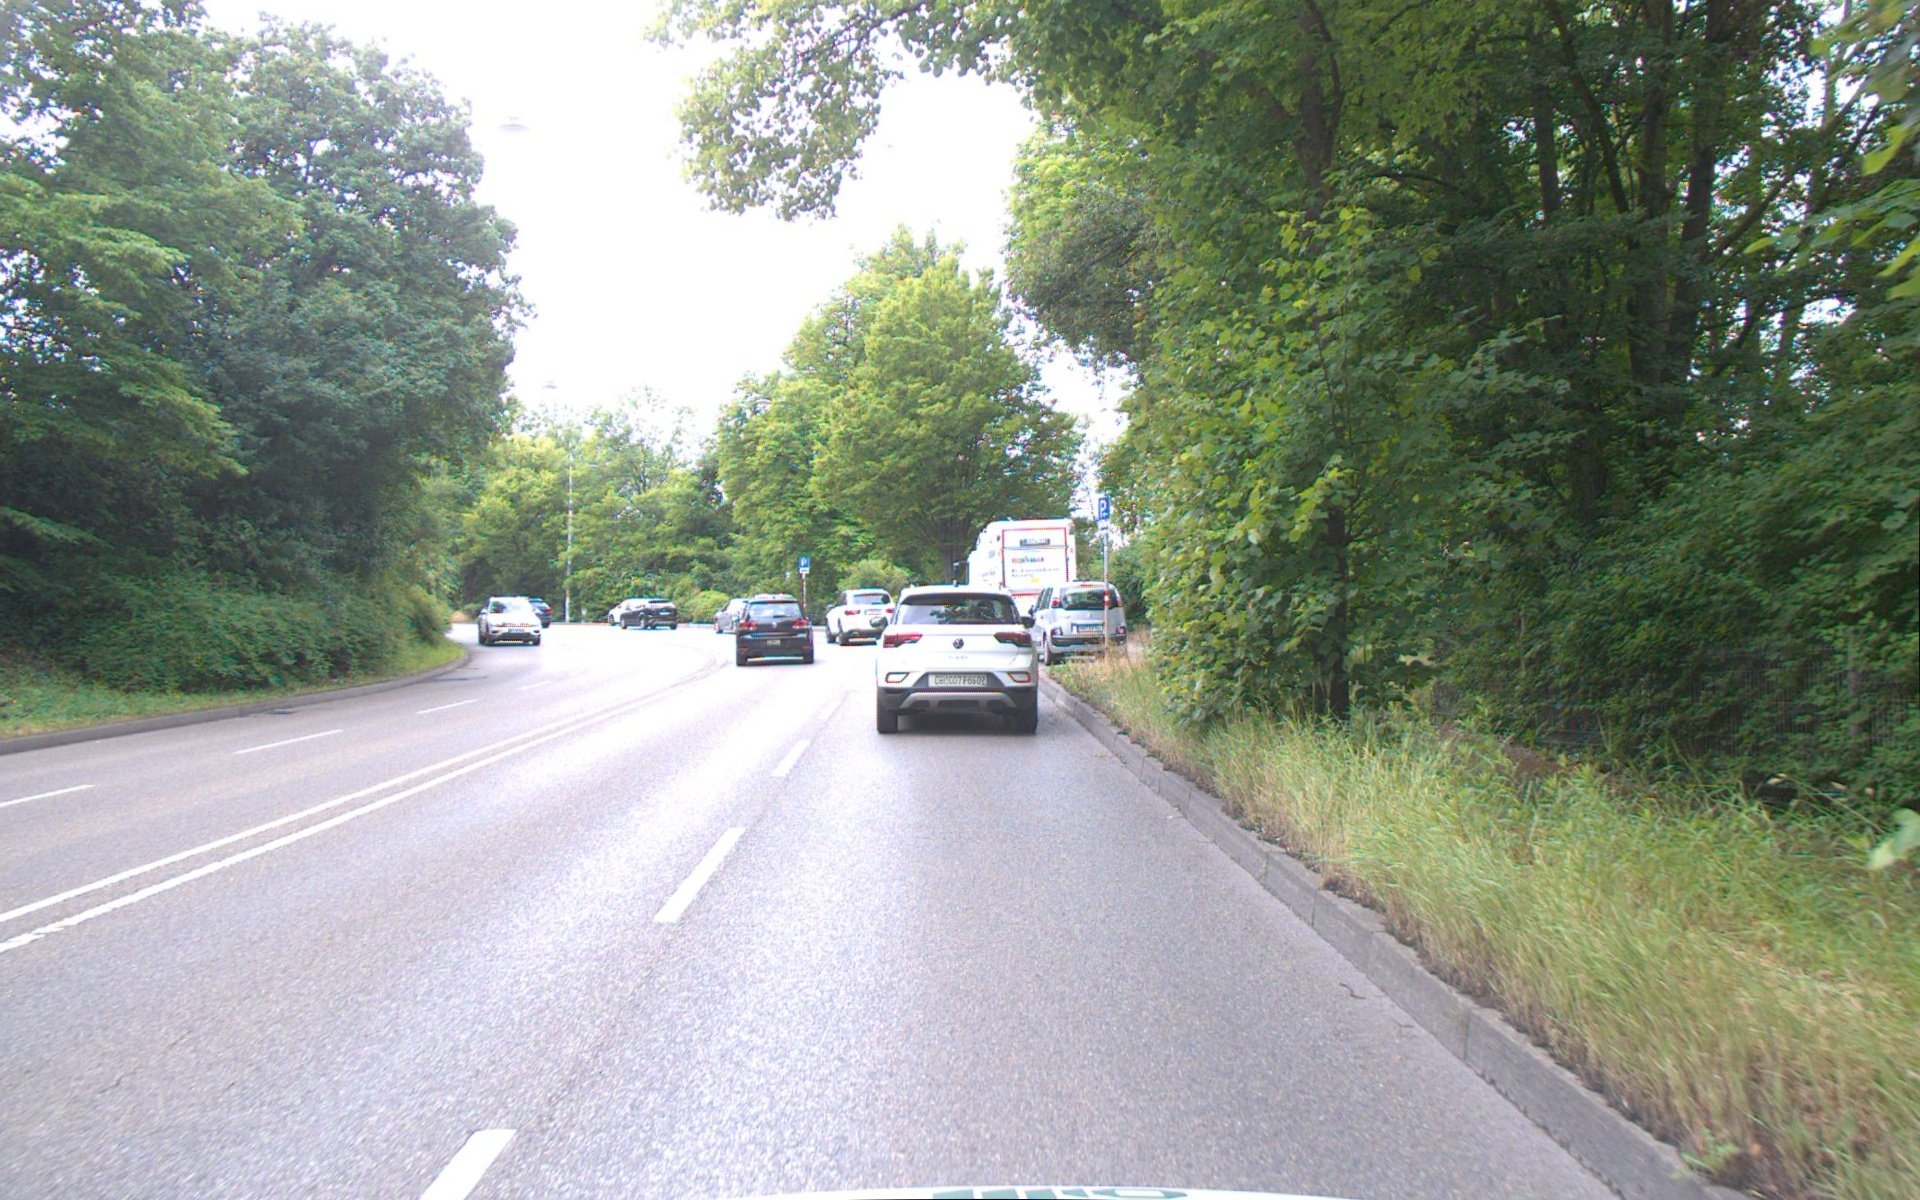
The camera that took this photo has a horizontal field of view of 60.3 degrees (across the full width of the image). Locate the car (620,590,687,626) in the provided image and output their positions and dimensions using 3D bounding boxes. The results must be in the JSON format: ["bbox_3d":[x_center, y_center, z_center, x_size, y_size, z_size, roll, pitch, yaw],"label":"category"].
[{"bbox_3d":[-14.854,0.386,80.097,1.750,1.635,3.953,2,0,-34],"label":"car"}]

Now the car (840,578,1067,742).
[{"bbox_3d":[-0.194,0.618,18.872,1.964,1.624,3.991,2,0,-9],"label":"car"}]

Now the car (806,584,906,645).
[{"bbox_3d":[-3.226,0.406,50.577,1.826,1.732,3.972,-2,1,-23],"label":"car"}]

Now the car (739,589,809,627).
[{"bbox_3d":[-8.662,0.366,76.569,1.739,1.681,4.340,-1,0,-28],"label":"car"}]

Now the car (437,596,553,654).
[{"bbox_3d":[-16.490,0.856,58.540,4.356,1.723,1.852,2,5,41],"label":"car"}]

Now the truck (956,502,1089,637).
[{"bbox_3d":[1.533,-0.737,44.257,2.434,3.237,7.218,2,0,-6],"label":"truck"}]

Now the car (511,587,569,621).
[{"bbox_3d":[-21.450,0.225,84.624,1.953,1.620,3.999,2,0,-1],"label":"car"}]

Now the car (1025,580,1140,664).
[{"bbox_3d":[2.465,0.431,34.098,1.767,1.551,3.997,2,0,-4],"label":"car"}]

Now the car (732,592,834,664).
[{"bbox_3d":[-3.950,0.603,37.464,1.910,1.492,3.999,-1,0,-1],"label":"car"}]
